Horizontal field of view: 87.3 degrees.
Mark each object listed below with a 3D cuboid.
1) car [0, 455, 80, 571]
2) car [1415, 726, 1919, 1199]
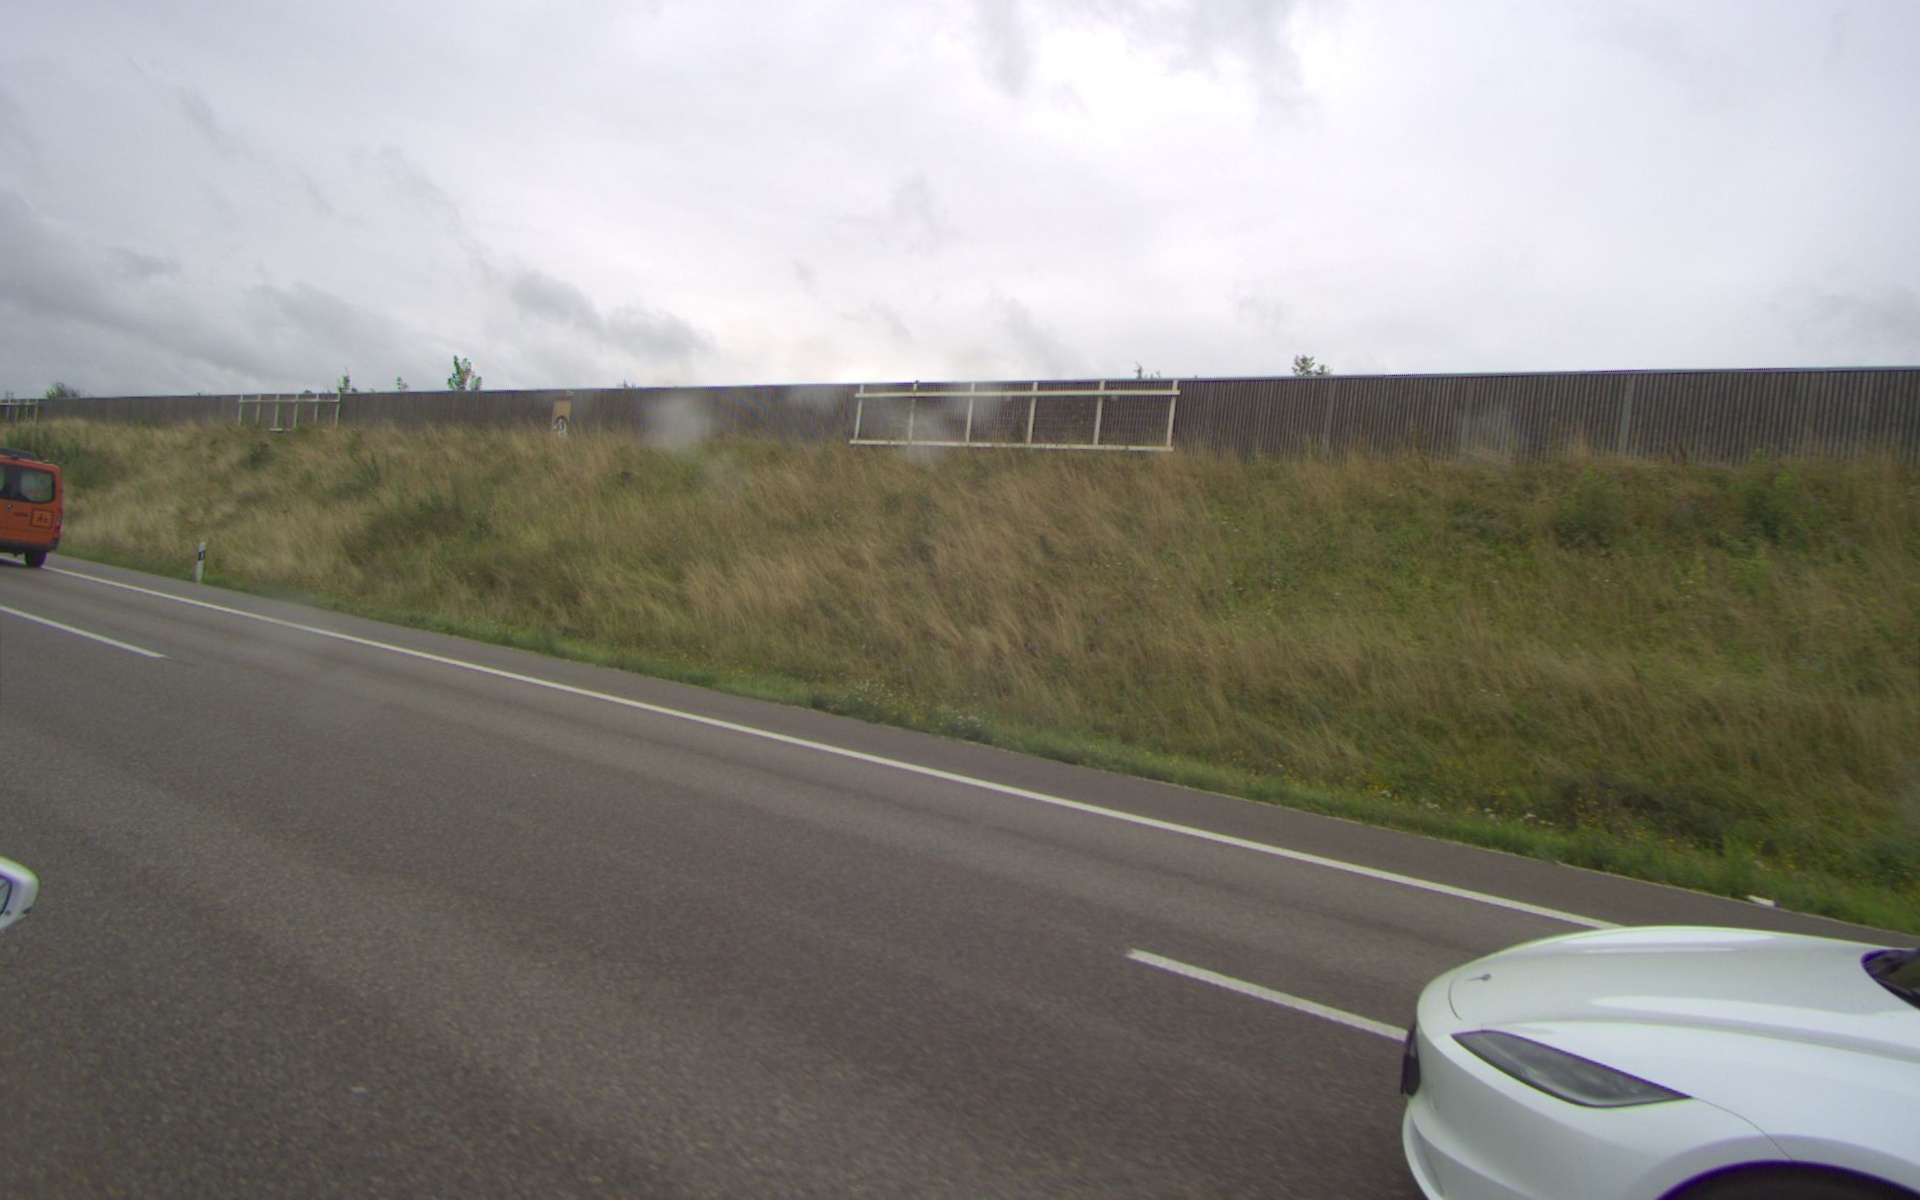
[{"bbox_3d":[-22.985,-2.210,23.237,6.077,2.343,2.089,7,0,31],"label":"car"},{"bbox_3d":[3.551,1.309,1.868,4.732,1.379,1.877,6,-2,31],"label":"car"}]
